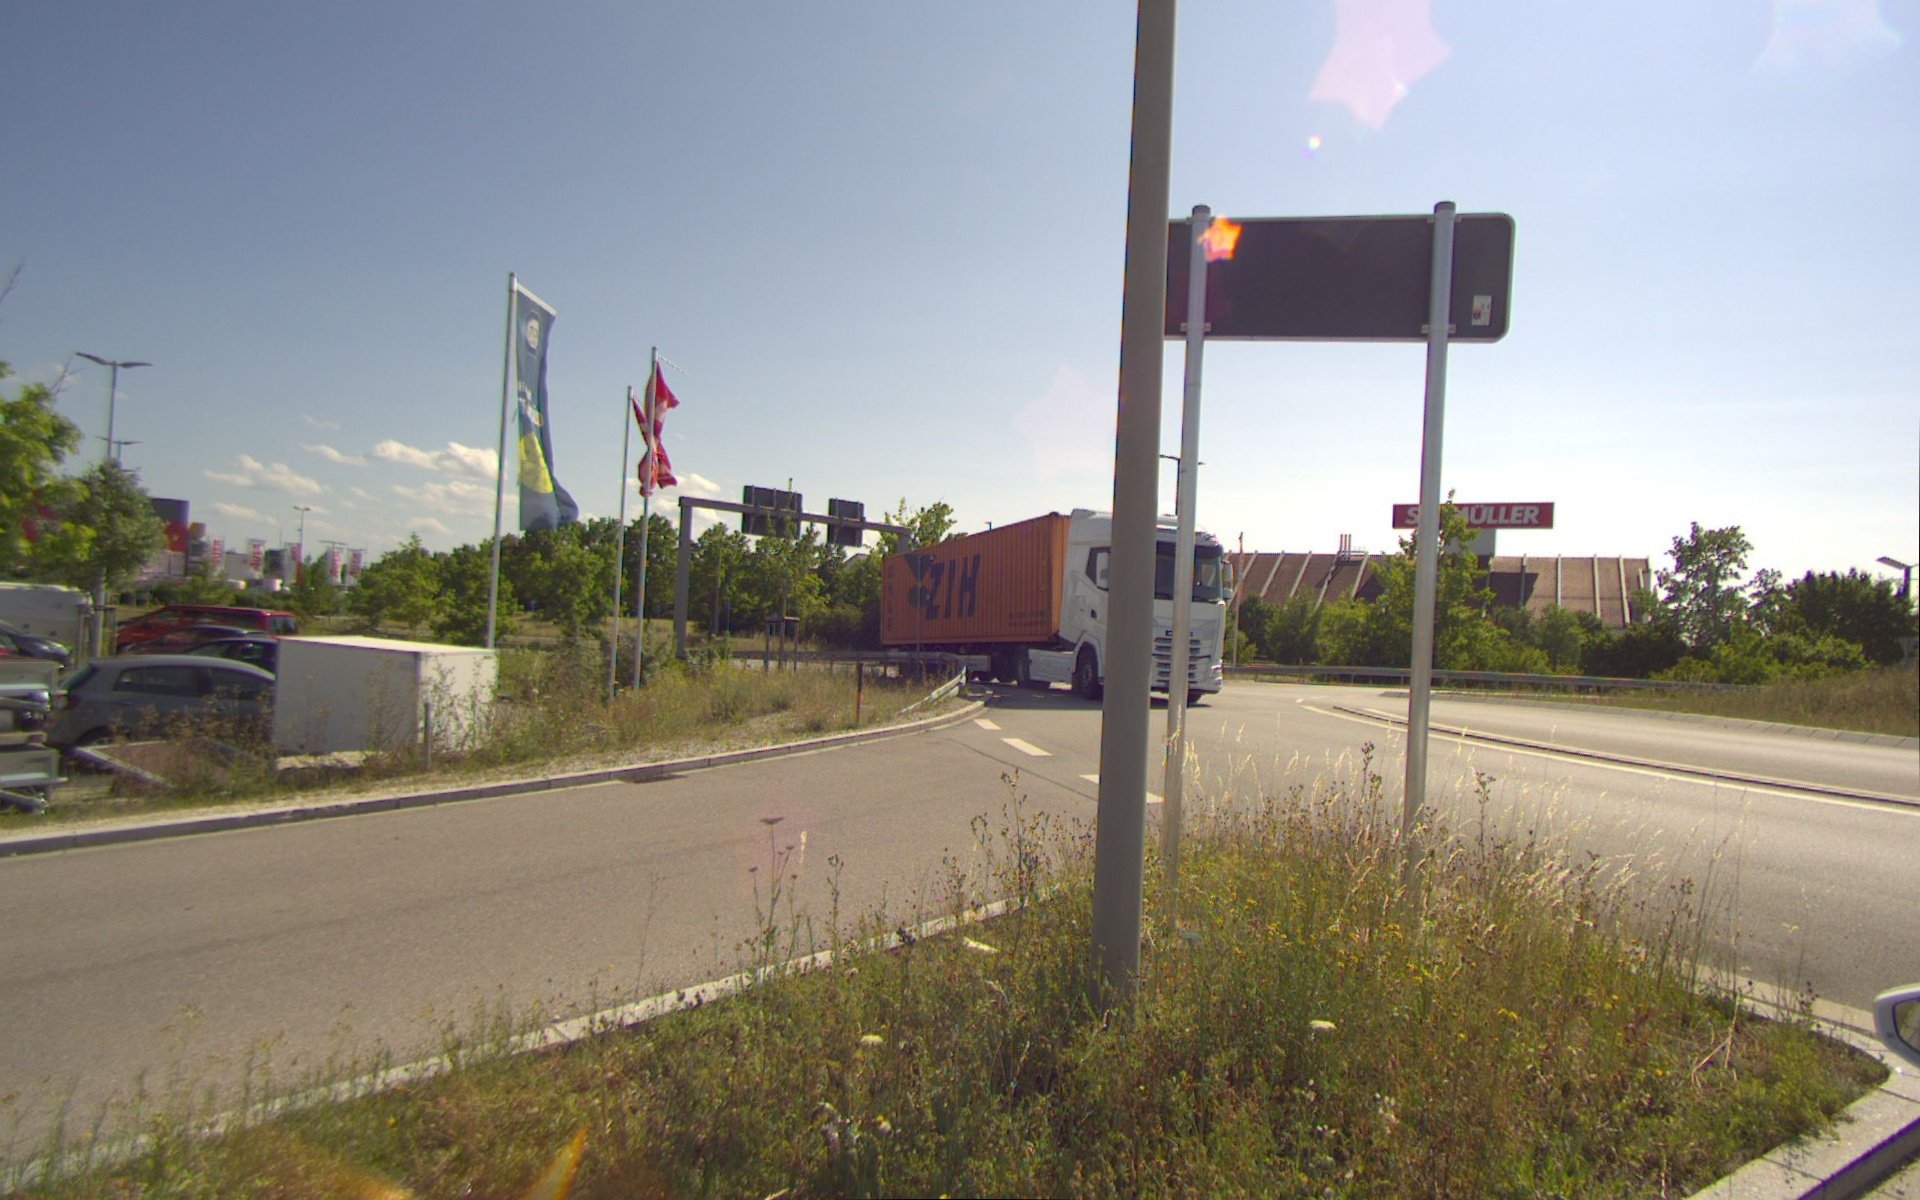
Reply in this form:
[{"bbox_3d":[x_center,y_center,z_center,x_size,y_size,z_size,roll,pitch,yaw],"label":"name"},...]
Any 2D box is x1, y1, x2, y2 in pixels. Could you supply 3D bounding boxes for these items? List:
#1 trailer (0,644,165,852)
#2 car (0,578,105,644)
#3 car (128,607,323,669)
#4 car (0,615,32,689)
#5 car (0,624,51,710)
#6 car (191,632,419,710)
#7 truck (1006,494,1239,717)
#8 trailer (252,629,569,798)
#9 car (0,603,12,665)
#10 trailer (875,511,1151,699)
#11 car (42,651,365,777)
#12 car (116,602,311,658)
[{"bbox_3d":[-10.660,1.441,10.624,3.623,1.795,1.808,2,0,19],"label":"trailer"},{"bbox_3d":[-30.642,0.324,32.611,4.316,2.040,1.881,3,0,-41],"label":"car"},{"bbox_3d":[-20.306,1.037,27.920,3.925,1.483,1.823,3,0,-6],"label":"car"},{"bbox_3d":[-22.064,1.034,20.788,3.964,1.483,1.806,3,0,-37],"label":"car"},{"bbox_3d":[-18.159,1.127,17.050,3.971,1.483,1.803,3,-3,-42],"label":"car"},{"bbox_3d":[-15.073,1.627,23.317,3.926,1.483,1.824,4,-3,-6],"label":"car"},{"bbox_3d":[3.278,0.156,22.236,2.619,4.161,6.415,2,-1,-15],"label":"truck"},{"bbox_3d":[-7.579,1.453,13.932,3.624,1.795,1.808,4,1,19],"label":"trailer"},{"bbox_3d":[-25.353,0.761,23.796,3.964,1.483,1.806,3,0,-37],"label":"car"},{"bbox_3d":[0.820,0.177,28.676,2.525,4.208,12.289,2,-1,-24],"label":"trailer"},{"bbox_3d":[-11.335,1.627,15.261,3.713,1.572,1.724,3,0,-40],"label":"car"},{"bbox_3d":[-22.537,0.894,30.478,4.372,1.483,1.823,3,0,-6],"label":"car"}]
